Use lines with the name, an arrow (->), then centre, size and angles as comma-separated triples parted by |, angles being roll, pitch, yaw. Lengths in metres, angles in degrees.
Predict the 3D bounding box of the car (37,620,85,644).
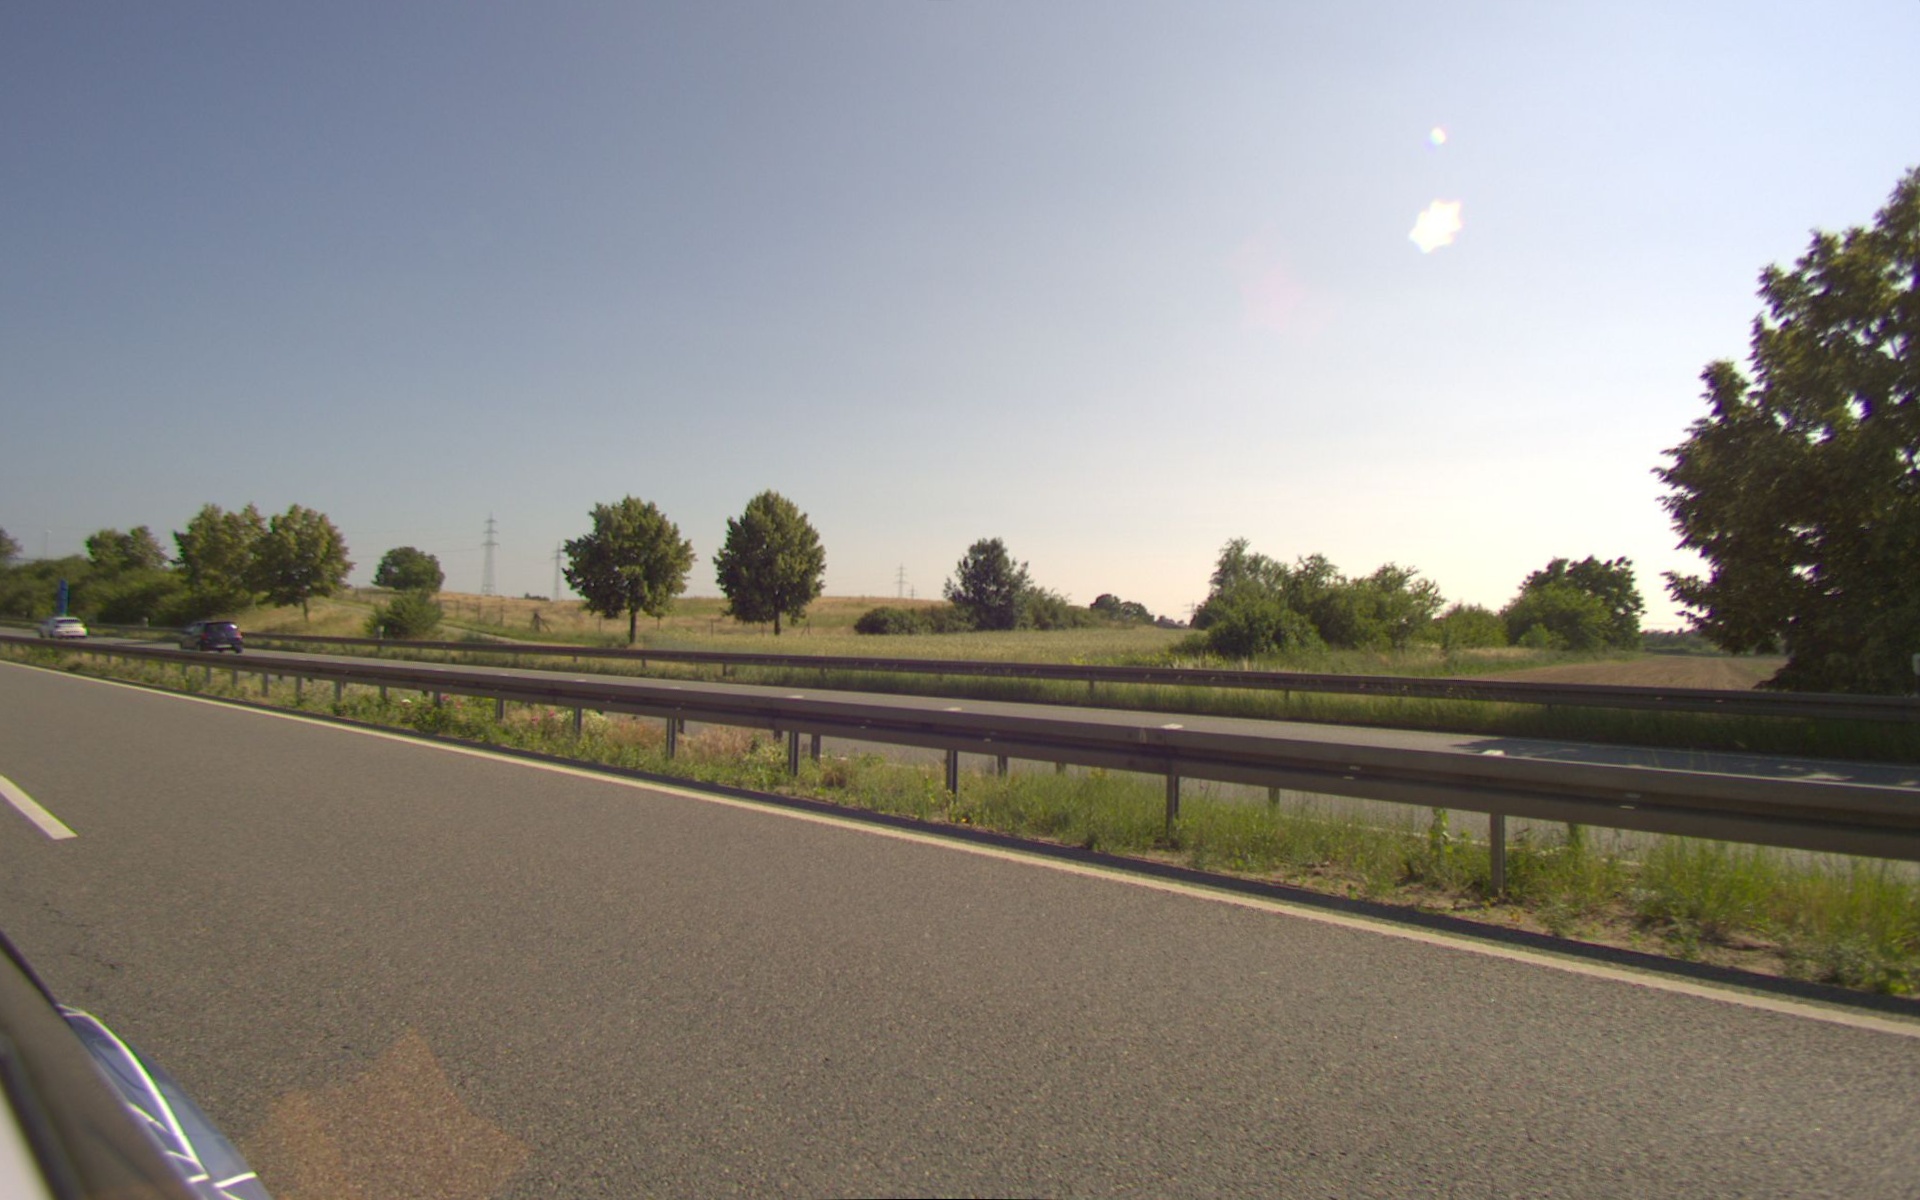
car -> -58.431, 2.082, 65.753 | 4.344, 1.443, 1.652 | 0, 0, 40

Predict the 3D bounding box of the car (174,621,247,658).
car -> -34.514, 1.786, 46.584 | 3.995, 1.545, 1.737 | -1, 0, 39
